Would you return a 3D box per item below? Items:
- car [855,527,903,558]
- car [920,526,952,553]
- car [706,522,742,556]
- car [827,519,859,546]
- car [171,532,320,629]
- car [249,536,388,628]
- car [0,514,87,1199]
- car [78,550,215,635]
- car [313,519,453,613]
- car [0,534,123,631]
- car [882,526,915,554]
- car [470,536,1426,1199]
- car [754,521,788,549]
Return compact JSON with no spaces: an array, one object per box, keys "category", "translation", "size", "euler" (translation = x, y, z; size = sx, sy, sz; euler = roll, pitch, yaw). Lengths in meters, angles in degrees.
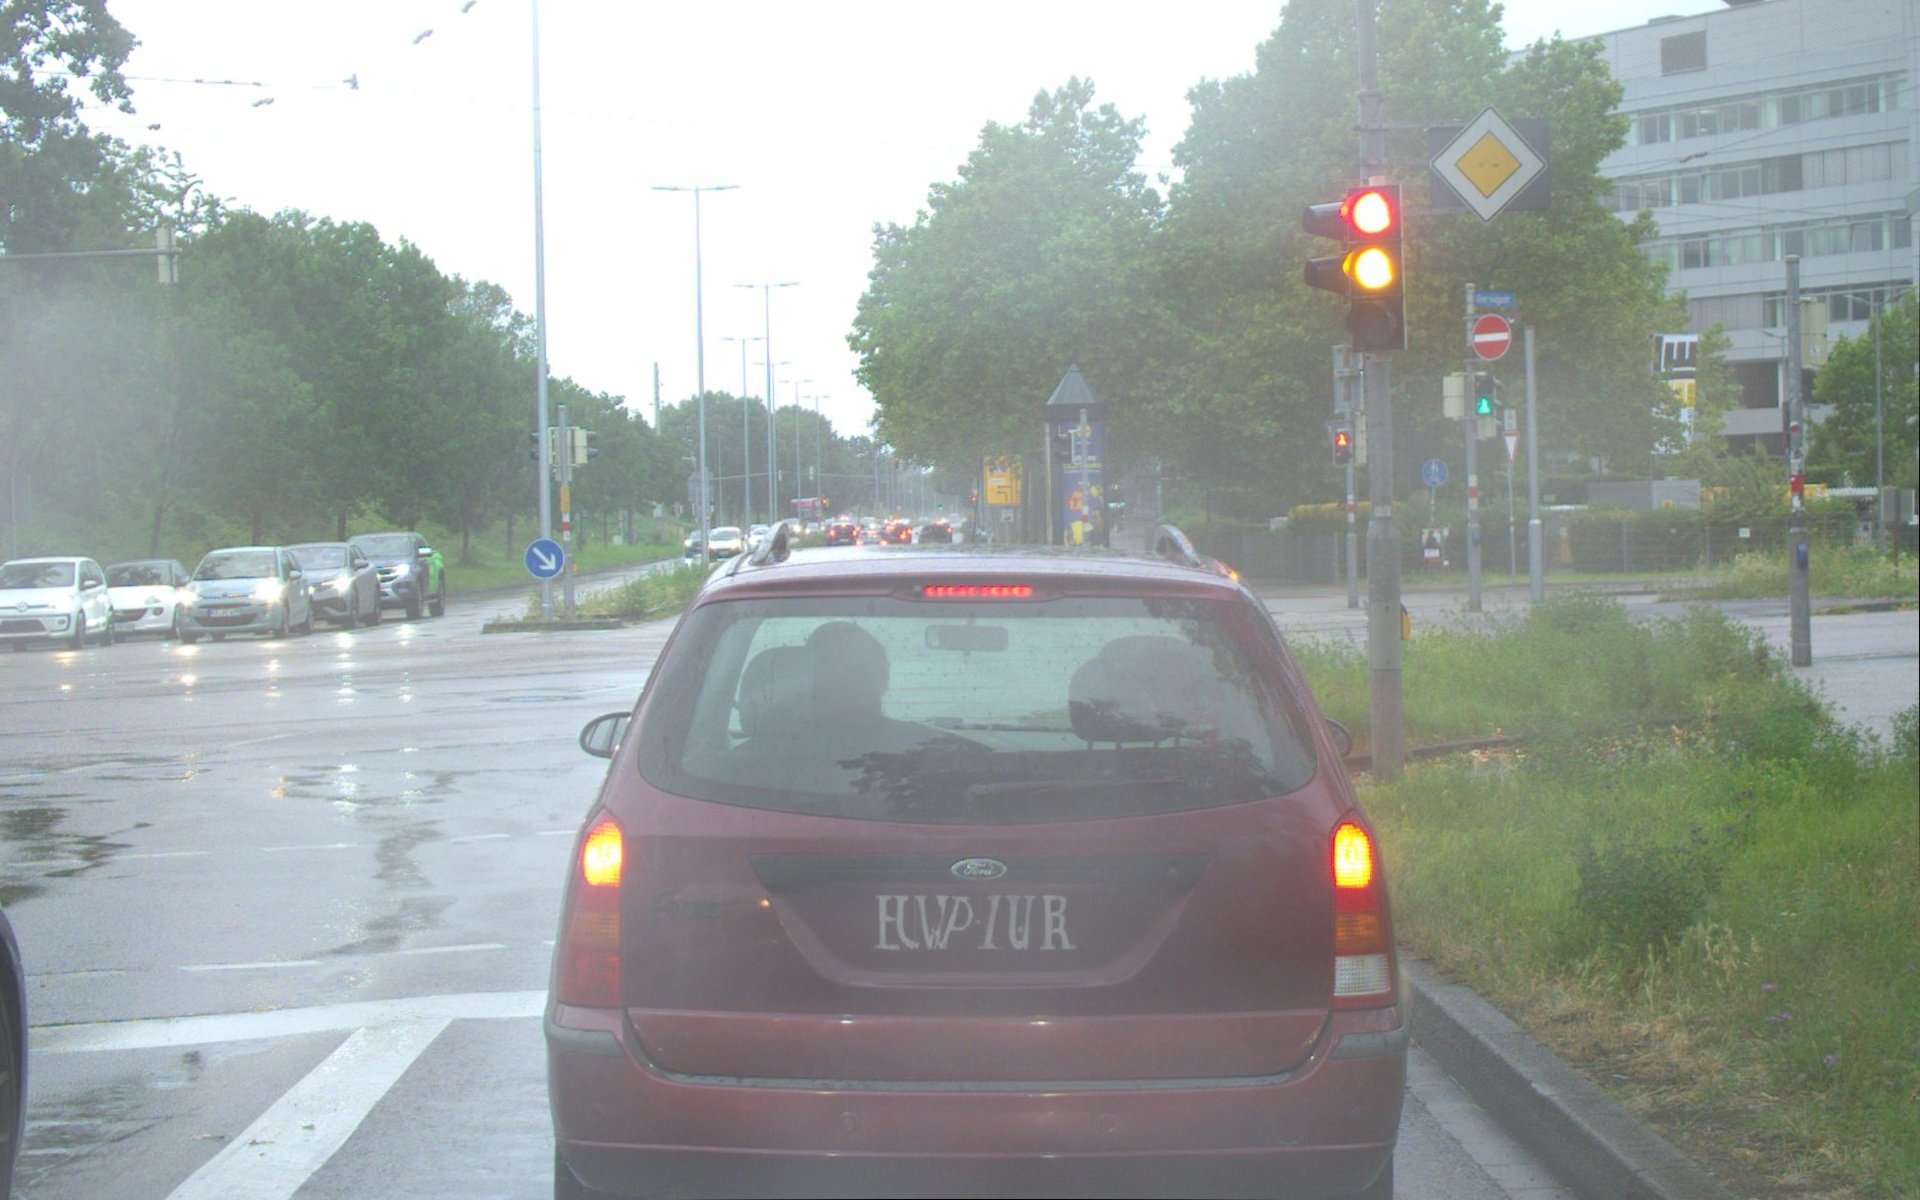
[{"category":"car","translation":[-4.044,-2.884,171.828],"size":[2.147,1.522,4.192],"euler":[-1,1,2]},{"category":"car","translation":[-1.370,-3.458,196.718],"size":[1.671,1.522,3.846],"euler":[-1,1,1]},{"category":"car","translation":[-12.293,-3.180,179.161],"size":[1.743,1.696,4.285],"euler":[-3,1,-4]},{"category":"car","translation":[-6.889,-3.985,202.665],"size":[1.698,1.522,3.846],"euler":[-1,1,1]},{"category":"car","translation":[-11.627,-0.348,56.177],"size":[1.638,1.468,3.965],"euler":[-2,1,-1]},{"category":"car","translation":[-11.730,-0.345,63.096],"size":[1.762,1.580,4.814],"euler":[-2,1,-2]},{"category":"car","translation":[-2.689,0.648,4.908],"size":[1.769,1.568,4.822],"euler":[1,1,-2]},{"category":"car","translation":[-14.504,-0.156,61.463],"size":[1.590,1.399,3.823],"euler":[-2,1,-2]},{"category":"car","translation":[-11.936,-0.741,71.458],"size":[2.065,1.813,5.542],"euler":[-2,1,-2]},{"category":"car","translation":[-14.627,-0.295,55.073],"size":[1.638,1.447,3.788],"euler":[-2,1,-3]},{"category":"car","translation":[-3.477,-3.416,194.152],"size":[1.698,1.522,3.846],"euler":[-1,1,1]},{"category":"car","translation":[-0.072,0.604,7.829],"size":[1.642,1.460,3.733],"euler":[1,1,-2]},{"category":"car","translation":[-12.134,-4.160,220.567],"size":[1.963,1.696,4.284],"euler":[-2,1,-1]}]
